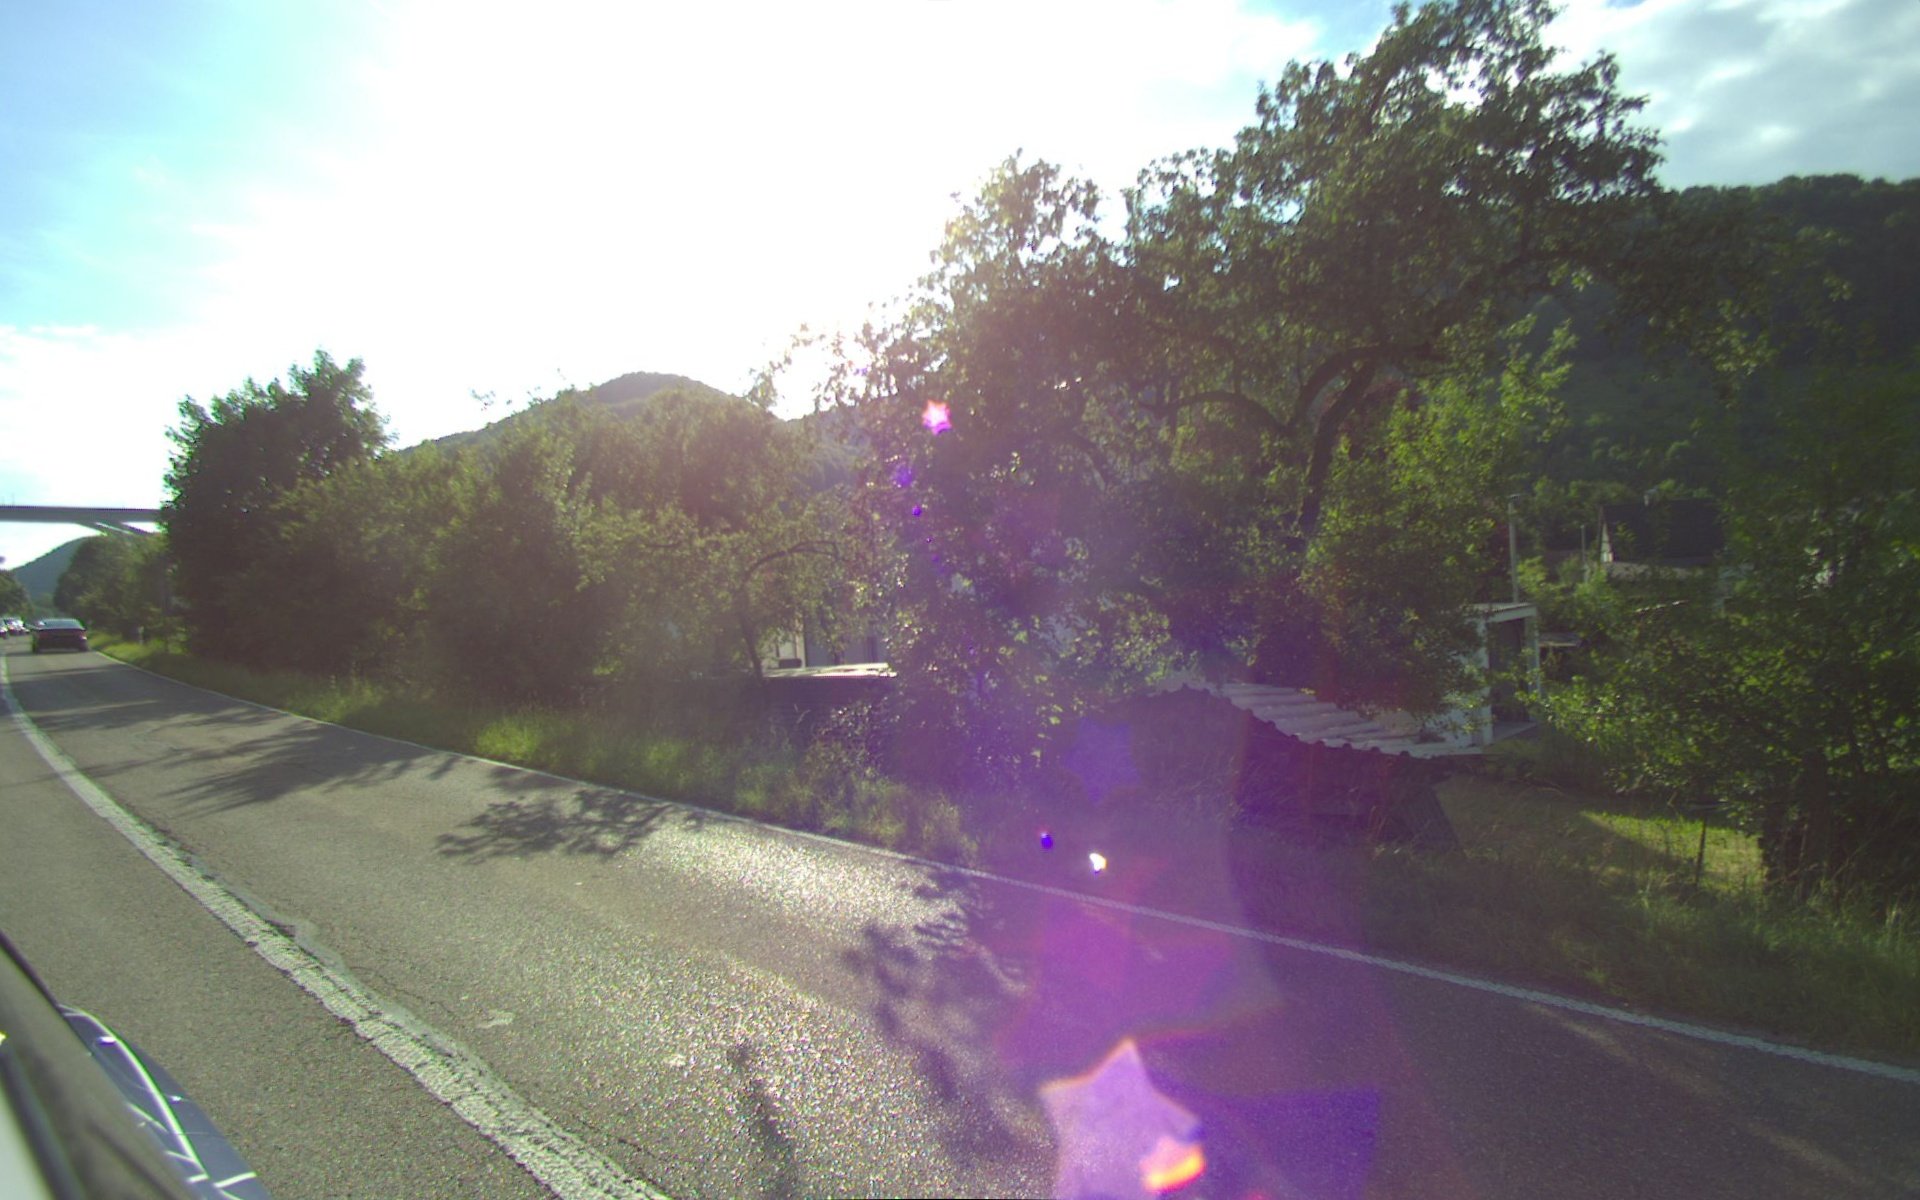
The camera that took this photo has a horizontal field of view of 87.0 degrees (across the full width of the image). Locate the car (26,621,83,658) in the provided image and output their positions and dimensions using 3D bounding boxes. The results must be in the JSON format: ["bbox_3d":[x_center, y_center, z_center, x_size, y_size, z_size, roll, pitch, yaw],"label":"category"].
[{"bbox_3d":[-37.096,1.564,41.415,1.575,1.364,4.206,-1,0,-44],"label":"car"}]

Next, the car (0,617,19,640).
[{"bbox_3d":[-87.254,2.559,92.301,1.970,2.029,4.003,-1,0,-44],"label":"car"}]
